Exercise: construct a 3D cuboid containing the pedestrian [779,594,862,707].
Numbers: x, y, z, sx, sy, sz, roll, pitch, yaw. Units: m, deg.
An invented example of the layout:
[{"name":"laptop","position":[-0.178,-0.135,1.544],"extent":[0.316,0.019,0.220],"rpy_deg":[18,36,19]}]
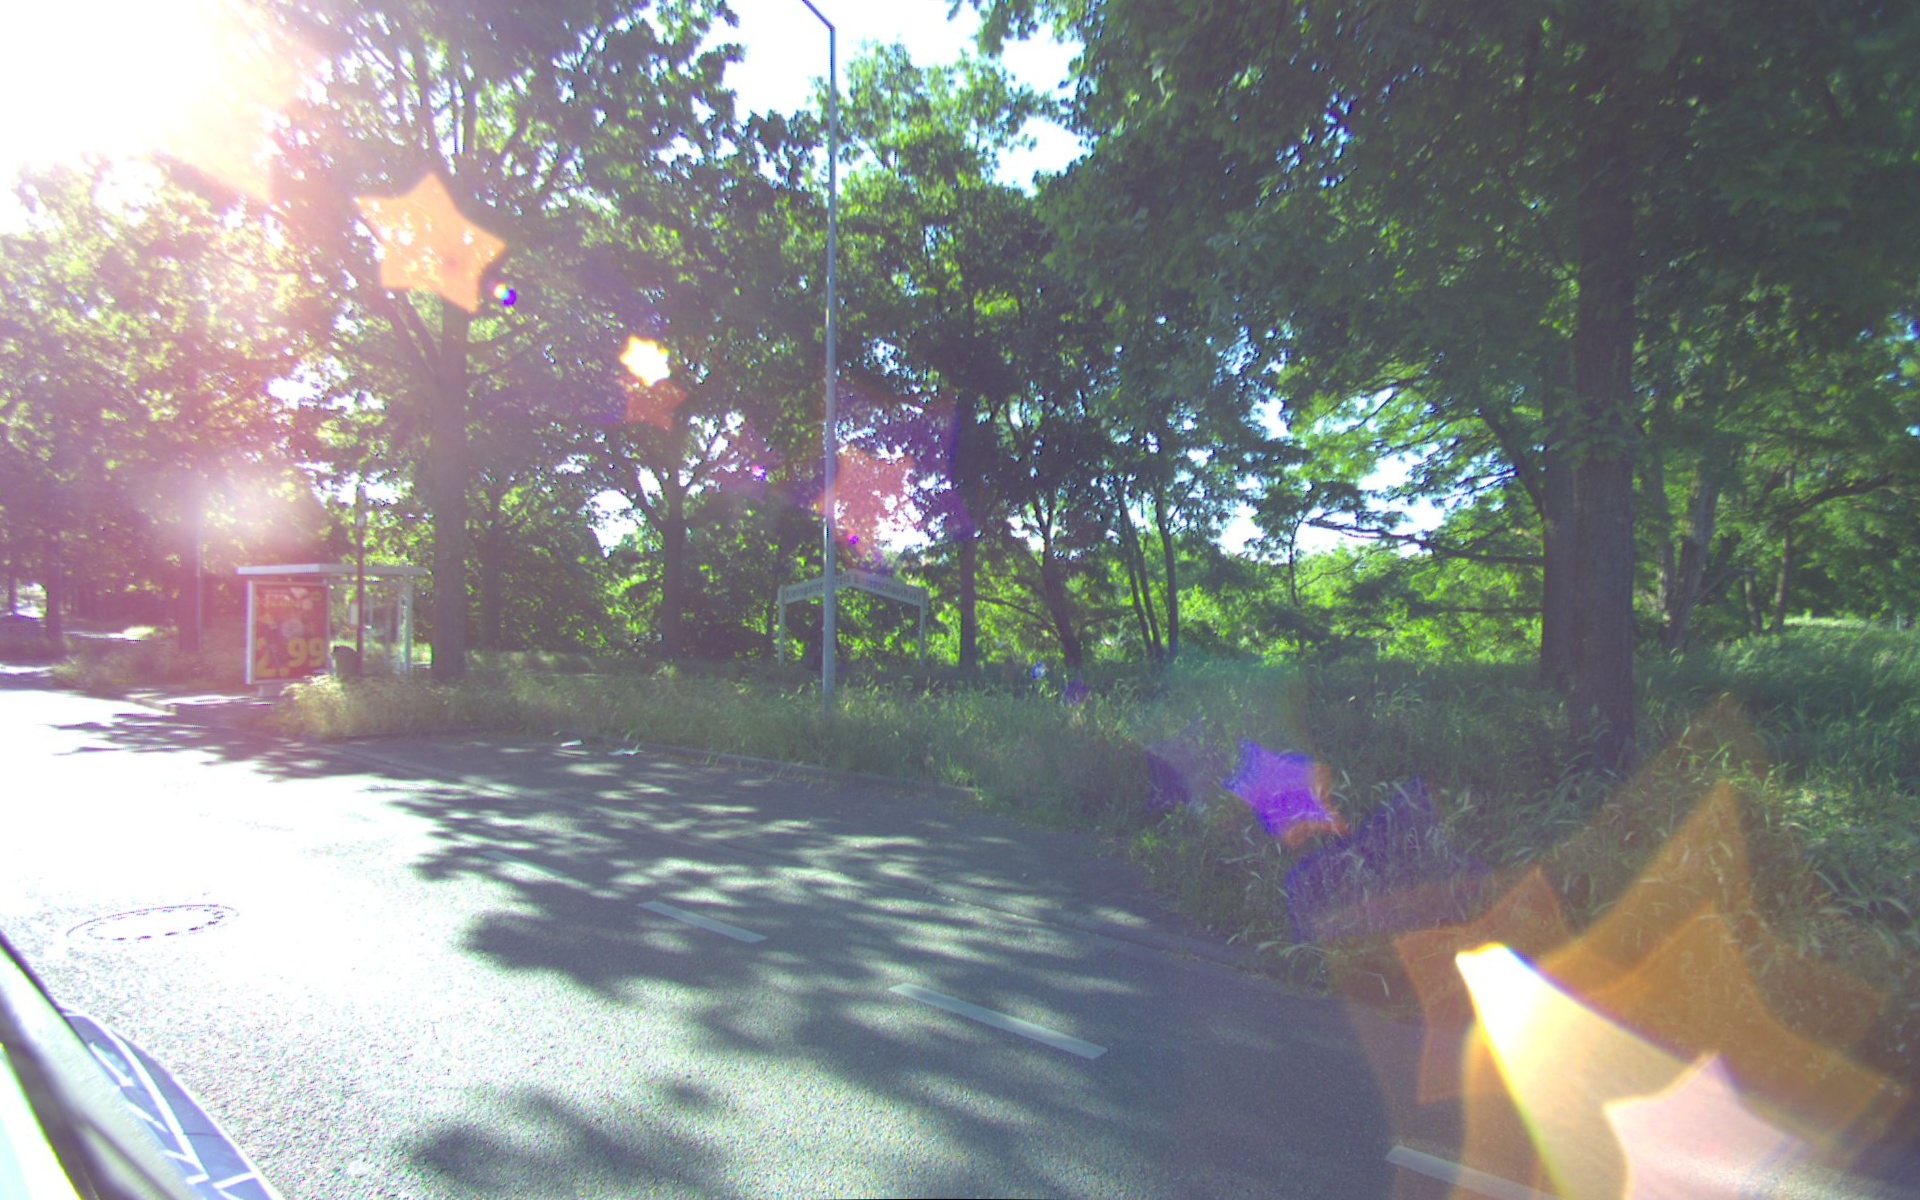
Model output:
[{"name":"pedestrian","position":[-2.196,0.775,15.914],"extent":[0.891,1.701,0.903],"rpy_deg":[-2,-1,42]}]
